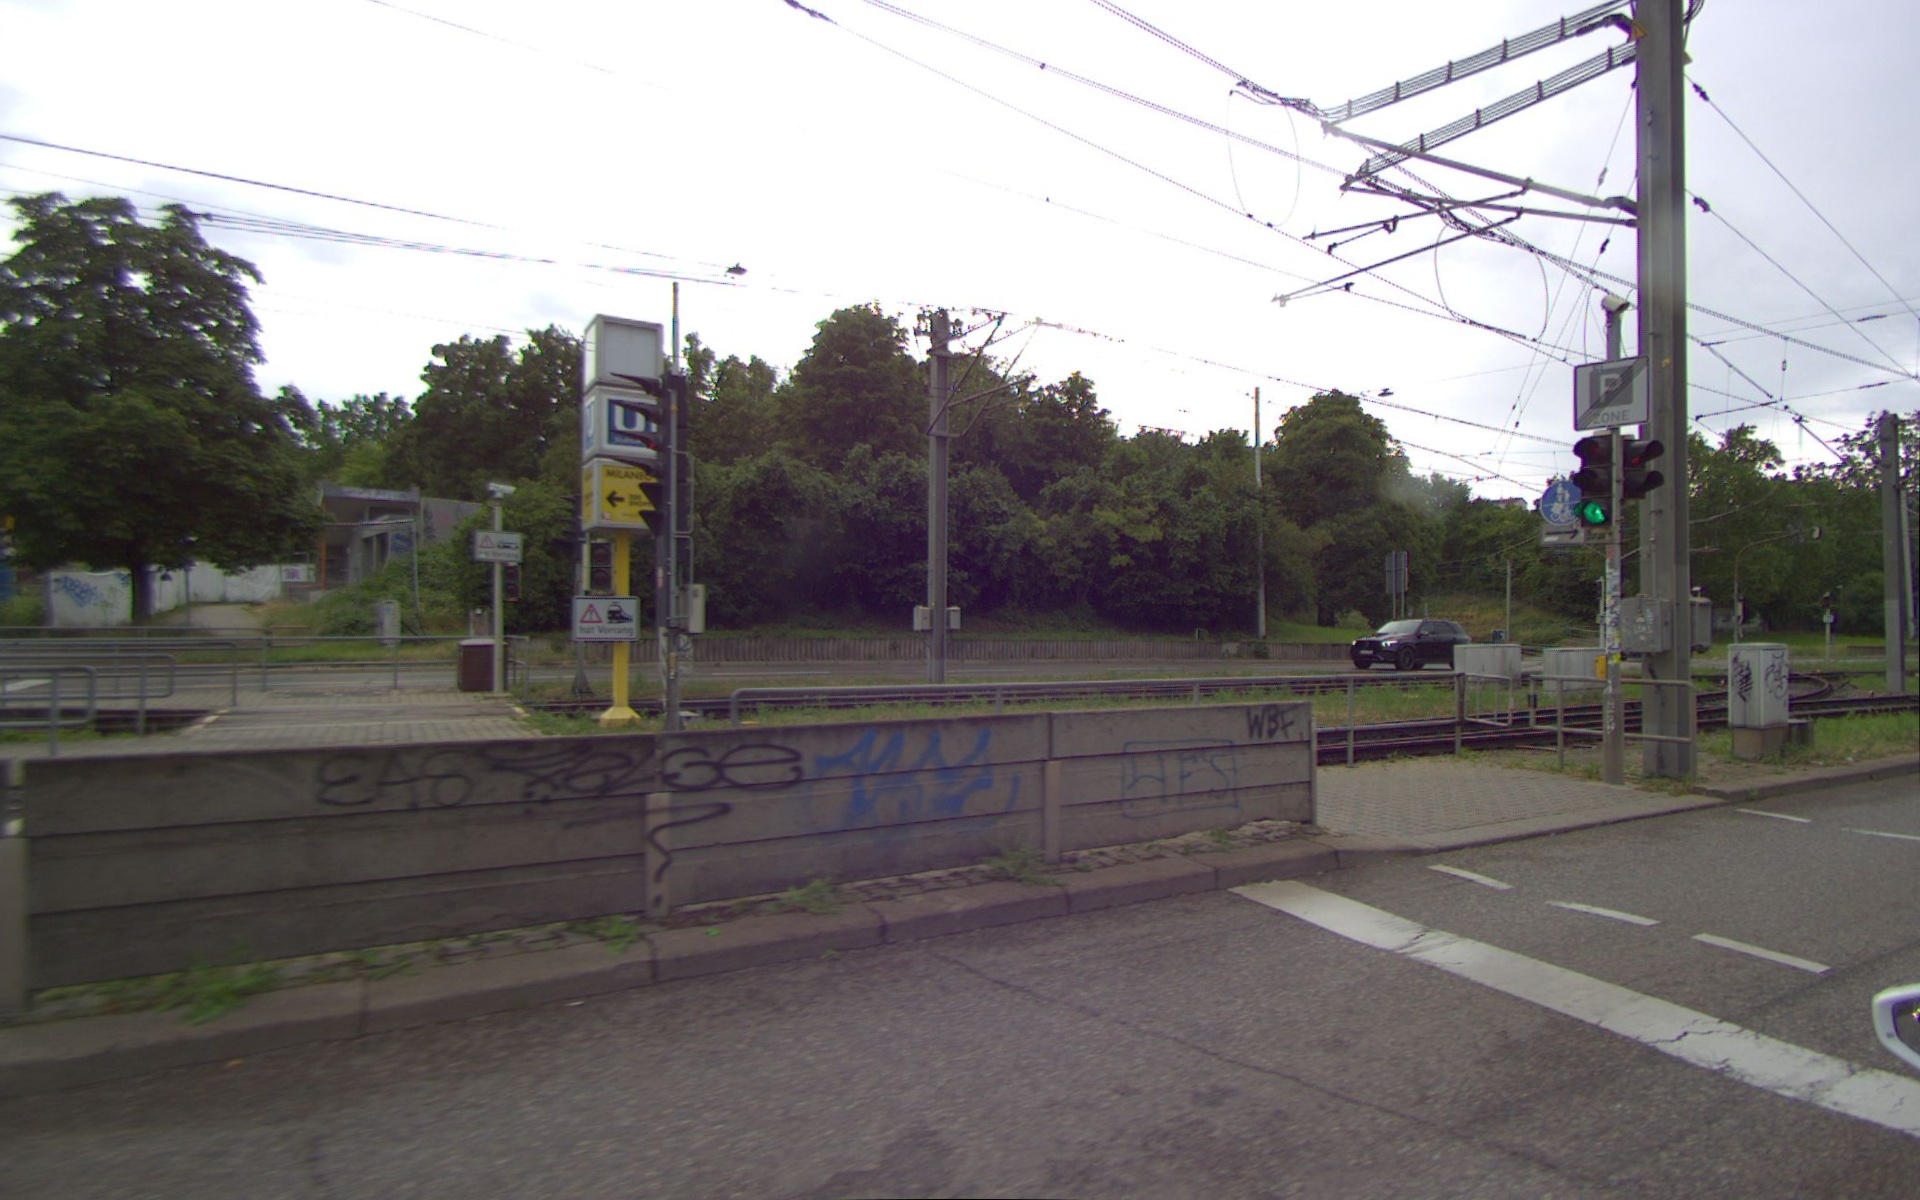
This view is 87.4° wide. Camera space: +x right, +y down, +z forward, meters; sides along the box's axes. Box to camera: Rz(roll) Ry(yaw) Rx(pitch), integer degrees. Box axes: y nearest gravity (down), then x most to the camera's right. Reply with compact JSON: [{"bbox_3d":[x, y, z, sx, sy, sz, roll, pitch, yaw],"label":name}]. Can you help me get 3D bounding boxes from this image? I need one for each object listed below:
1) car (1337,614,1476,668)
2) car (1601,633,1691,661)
[{"bbox_3d":[15.612,1.413,35.062,4.807,1.762,2.073,1,-1,-31],"label":"car"},{"bbox_3d":[33.126,2.244,48.476,4.423,1.278,1.917,1,-1,-31],"label":"car"}]
